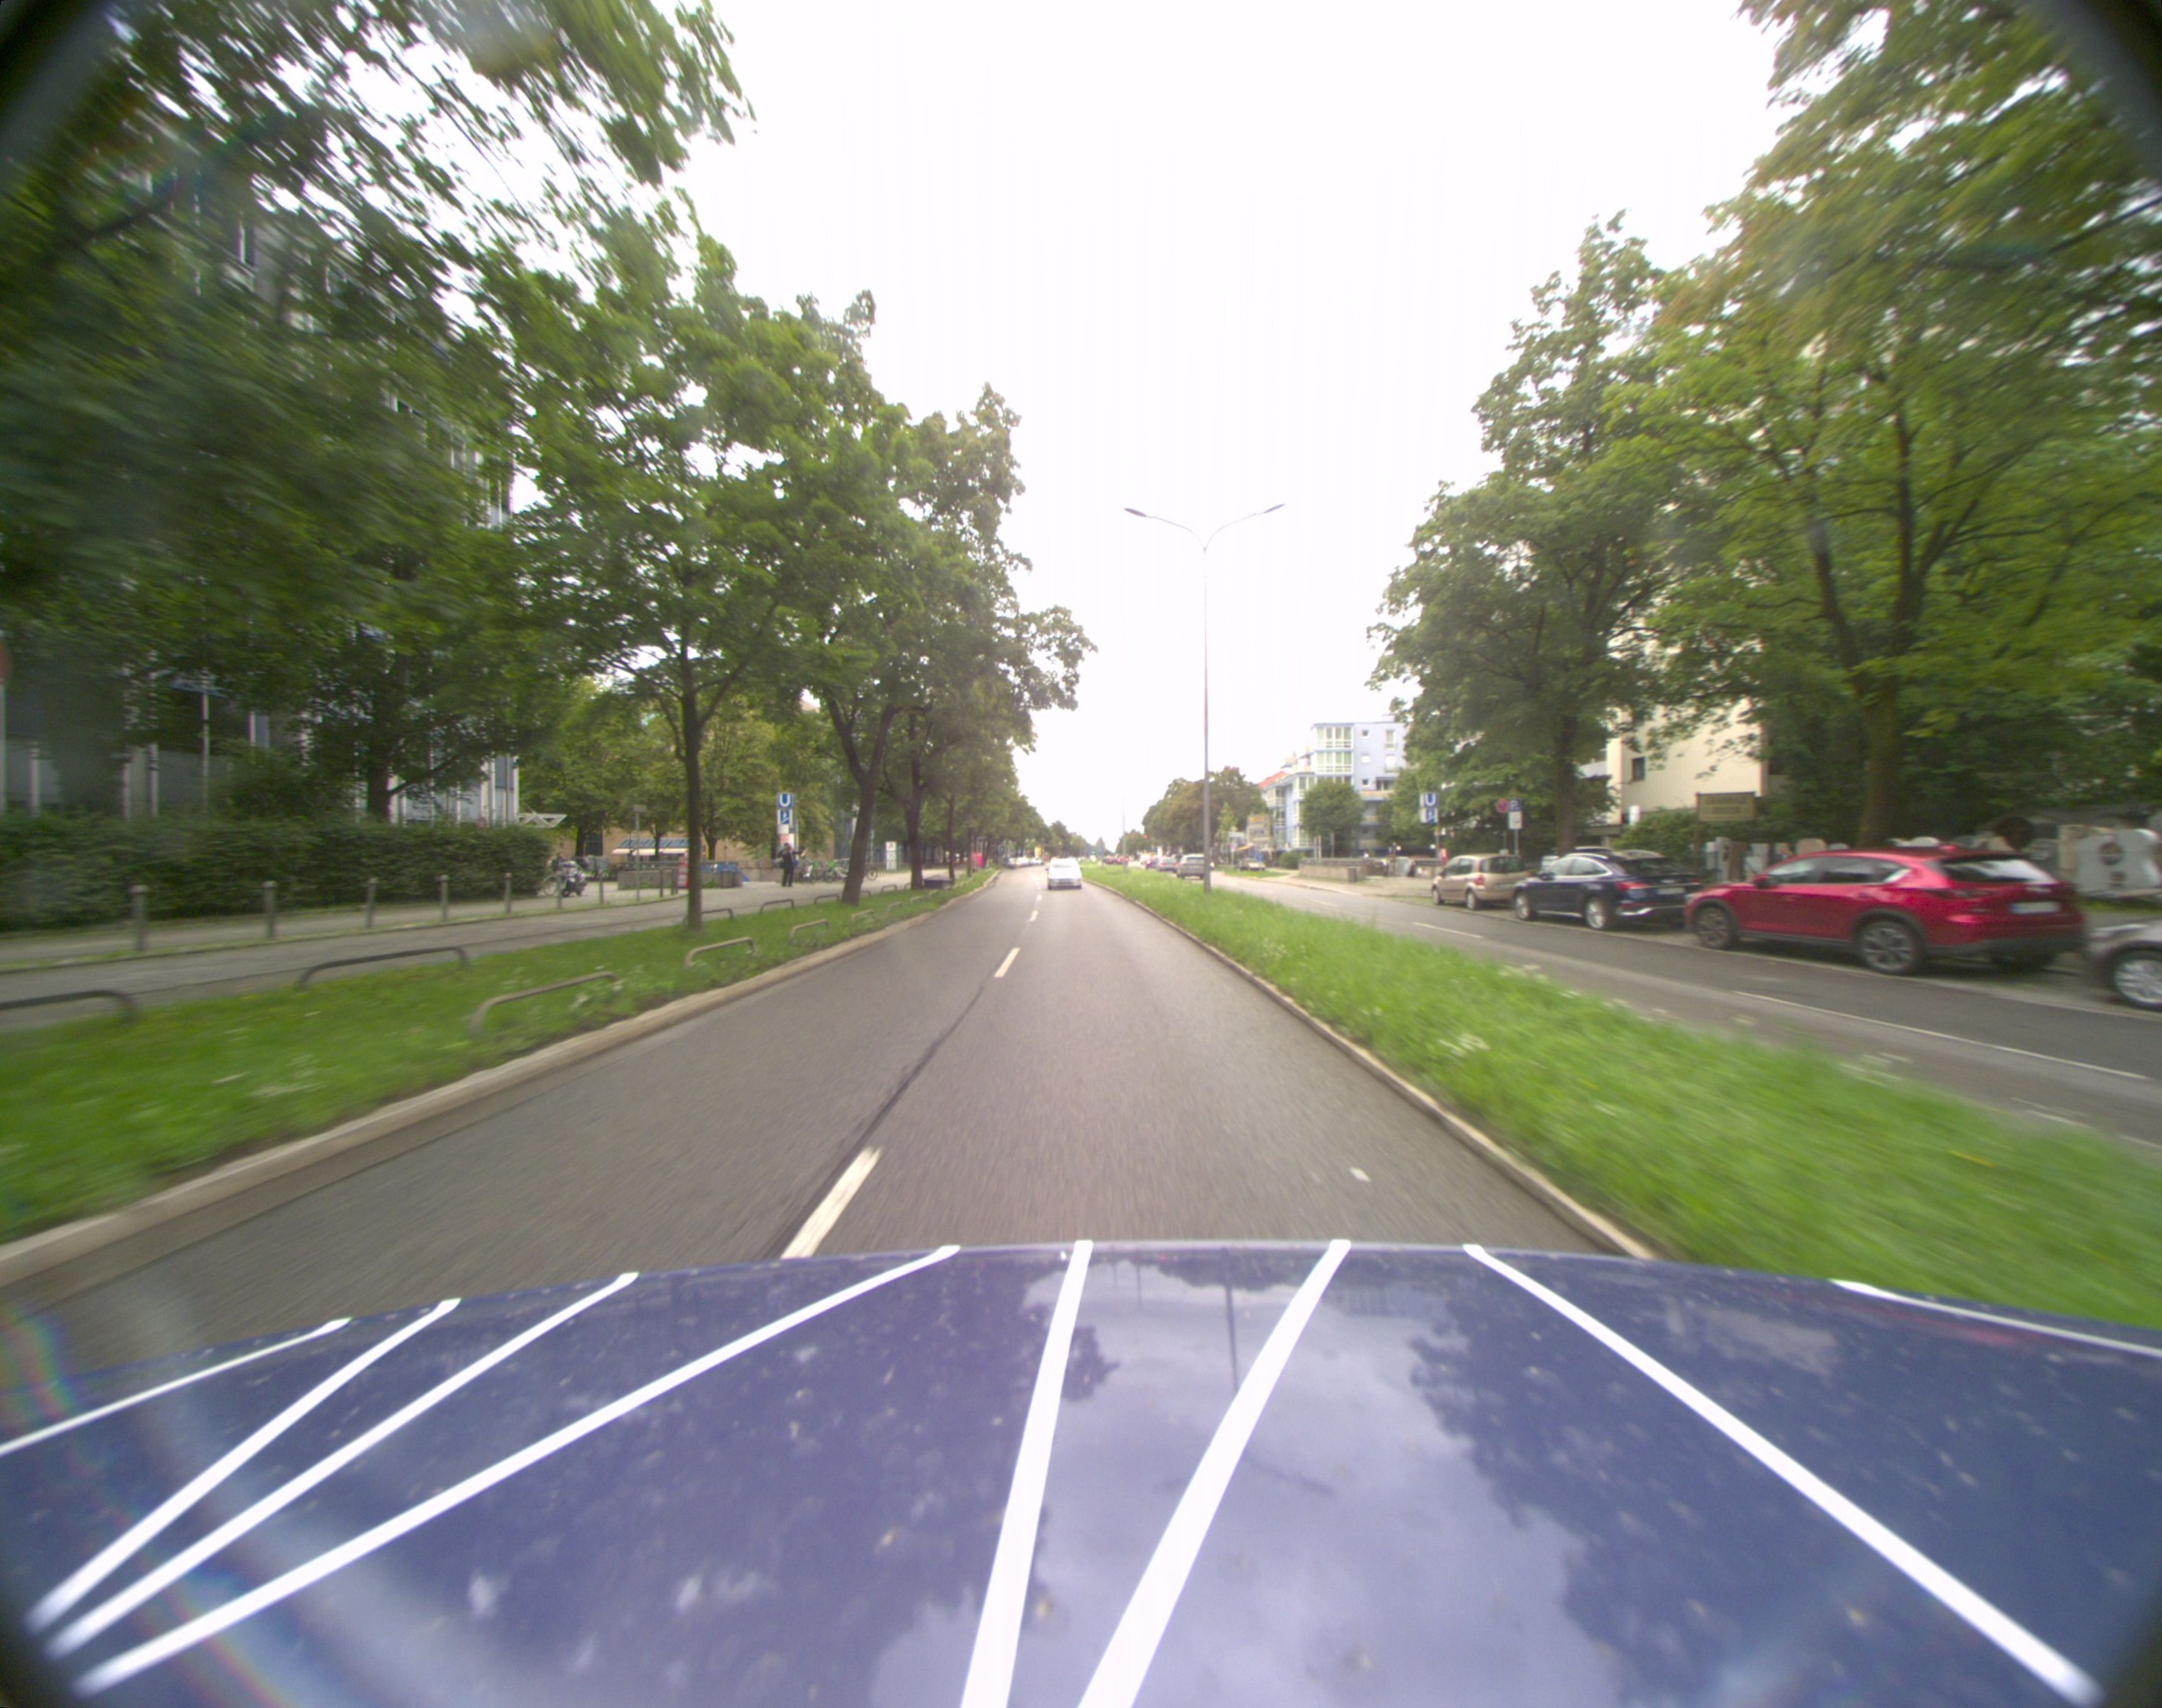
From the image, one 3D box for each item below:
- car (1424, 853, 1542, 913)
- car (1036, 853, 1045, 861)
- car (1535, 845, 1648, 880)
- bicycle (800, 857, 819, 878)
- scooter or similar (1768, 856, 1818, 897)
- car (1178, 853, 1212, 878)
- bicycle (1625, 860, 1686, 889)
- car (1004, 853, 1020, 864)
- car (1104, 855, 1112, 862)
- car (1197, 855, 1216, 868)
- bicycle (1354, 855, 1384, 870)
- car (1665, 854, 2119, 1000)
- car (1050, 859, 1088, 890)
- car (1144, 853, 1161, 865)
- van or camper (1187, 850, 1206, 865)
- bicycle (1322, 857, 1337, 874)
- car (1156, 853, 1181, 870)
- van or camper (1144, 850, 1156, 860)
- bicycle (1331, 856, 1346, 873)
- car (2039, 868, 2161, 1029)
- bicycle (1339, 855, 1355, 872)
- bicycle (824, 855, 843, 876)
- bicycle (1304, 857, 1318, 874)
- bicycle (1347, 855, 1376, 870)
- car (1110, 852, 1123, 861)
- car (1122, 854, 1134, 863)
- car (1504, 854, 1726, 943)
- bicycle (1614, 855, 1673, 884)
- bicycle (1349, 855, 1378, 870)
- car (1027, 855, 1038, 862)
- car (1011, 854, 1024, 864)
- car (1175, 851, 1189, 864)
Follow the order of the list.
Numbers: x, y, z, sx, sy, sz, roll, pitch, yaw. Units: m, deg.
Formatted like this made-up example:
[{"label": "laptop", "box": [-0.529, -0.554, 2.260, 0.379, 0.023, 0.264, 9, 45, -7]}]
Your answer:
[{"label": "car", "box": [11.835, 0.788, 22.646, 1.651, 1.605, 3.820, -2, 0, 4]}, {"label": "car", "box": [-8.141, 0.651, 153.190, 1.590, 1.495, 3.735, 0, 0, 2]}, {"label": "car", "box": [23.542, 0.398, 35.133, 3.996, 1.580, 1.749, 0, 0, 3]}, {"label": "bicycle", "box": [-15.969, 0.765, 44.711, 0.447, 1.182, 1.954, 0, 0, -1]}, {"label": "scooter or similar", "box": [19.915, 0.610, 21.277, 0.436, 1.120, 1.291, 0, 0, 14]}, {"label": "car", "box": [7.517, 0.718, 50.536, 1.770, 1.615, 4.377, 0, 0, 2]}, {"label": "bicycle", "box": [20.148, 0.701, 26.662, 1.766, 1.001, 0.436, 0, 1, 2]}, {"label": "car", "box": [-9.580, 0.596, 105.435, 1.865, 1.581, 4.602, 0, 0, -1]}, {"label": "car", "box": [5.801, 0.942, 164.536, 1.761, 1.440, 3.672, 0, 0, 2]}, {"label": "car", "box": [14.811, 0.825, 90.008, 1.651, 1.480, 3.902, 0, 0, 0]}, {"label": "bicycle", "box": [20.909, 0.602, 55.132, 1.952, 1.097, 0.489, 0, 1, 5]}, {"label": "car", "box": [11.284, 0.855, 11.213, 1.743, 1.642, 4.606, -3, 0, 0]}, {"label": "car", "box": [-0.565, 0.977, 37.706, 1.679, 1.433, 3.735, 0, 0, 2]}, {"label": "car", "box": [8.426, 0.624, 90.292, 1.696, 1.394, 3.967, 0, 0, 1]}, {"label": "van or camper", "box": [15.220, 0.441, 100.205, 1.809, 1.956, 5.211, 0, 0, 2]}, {"label": "bicycle", "box": [16.459, 0.759, 50.278, 0.409, 1.066, 1.955, -4, 0, 4]}, {"label": "car", "box": [8.058, 0.667, 70.156, 1.920, 1.475, 4.865, 0, 0, 2]}, {"label": "van or camper", "box": [14.056, 0.218, 155.194, 2.020, 2.004, 5.199, 0, 0, 2]}, {"label": "bicycle", "box": [17.042, 0.684, 50.270, 0.409, 1.024, 1.955, -4, 0, 4]}, {"label": "car", "box": [11.206, 0.911, 6.054, 1.743, 1.474, 4.334, -3, 0, 2]}, {"label": "bicycle", "box": [17.626, 0.634, 50.374, 0.409, 1.097, 1.955, -4, 0, 4]}, {"label": "bicycle", "box": [-14.501, 0.642, 44.507, 0.489, 1.182, 1.954, 0, 0, -1]}, {"label": "bicycle", "box": [15.232, 0.766, 50.327, 0.409, 1.071, 1.955, -4, 0, 4]}, {"label": "bicycle", "box": [21.194, 0.618, 57.405, 1.952, 1.097, 0.560, 0, 1, 5]}, {"label": "car", "box": [5.549, 0.328, 119.992, 1.787, 1.397, 4.101, 0, 0, 0]}, {"label": "car", "box": [7.934, 0.725, 129.736, 1.962, 1.471, 4.259, 0, 0, 2]}, {"label": "car", "box": [11.500, 0.853, 16.862, 1.743, 1.634, 4.685, -2, 0, 2]}, {"label": "bicycle", "box": [20.160, 0.553, 27.254, 1.766, 1.001, 0.436, 0, 1, 2]}, {"label": "bicycle", "box": [21.128, 0.614, 56.820, 1.952, 1.097, 0.560, 0, 1, 5]}, {"label": "car", "box": [-8.693, 0.768, 136.103, 1.590, 1.310, 3.735, 0, 0, 2]}, {"label": "car", "box": [-9.574, 0.736, 115.224, 1.627, 1.373, 4.194, 0, 0, 0]}, {"label": "car", "box": [15.894, 0.504, 120.075, 1.801, 1.986, 4.547, 0, 0, 2]}]
